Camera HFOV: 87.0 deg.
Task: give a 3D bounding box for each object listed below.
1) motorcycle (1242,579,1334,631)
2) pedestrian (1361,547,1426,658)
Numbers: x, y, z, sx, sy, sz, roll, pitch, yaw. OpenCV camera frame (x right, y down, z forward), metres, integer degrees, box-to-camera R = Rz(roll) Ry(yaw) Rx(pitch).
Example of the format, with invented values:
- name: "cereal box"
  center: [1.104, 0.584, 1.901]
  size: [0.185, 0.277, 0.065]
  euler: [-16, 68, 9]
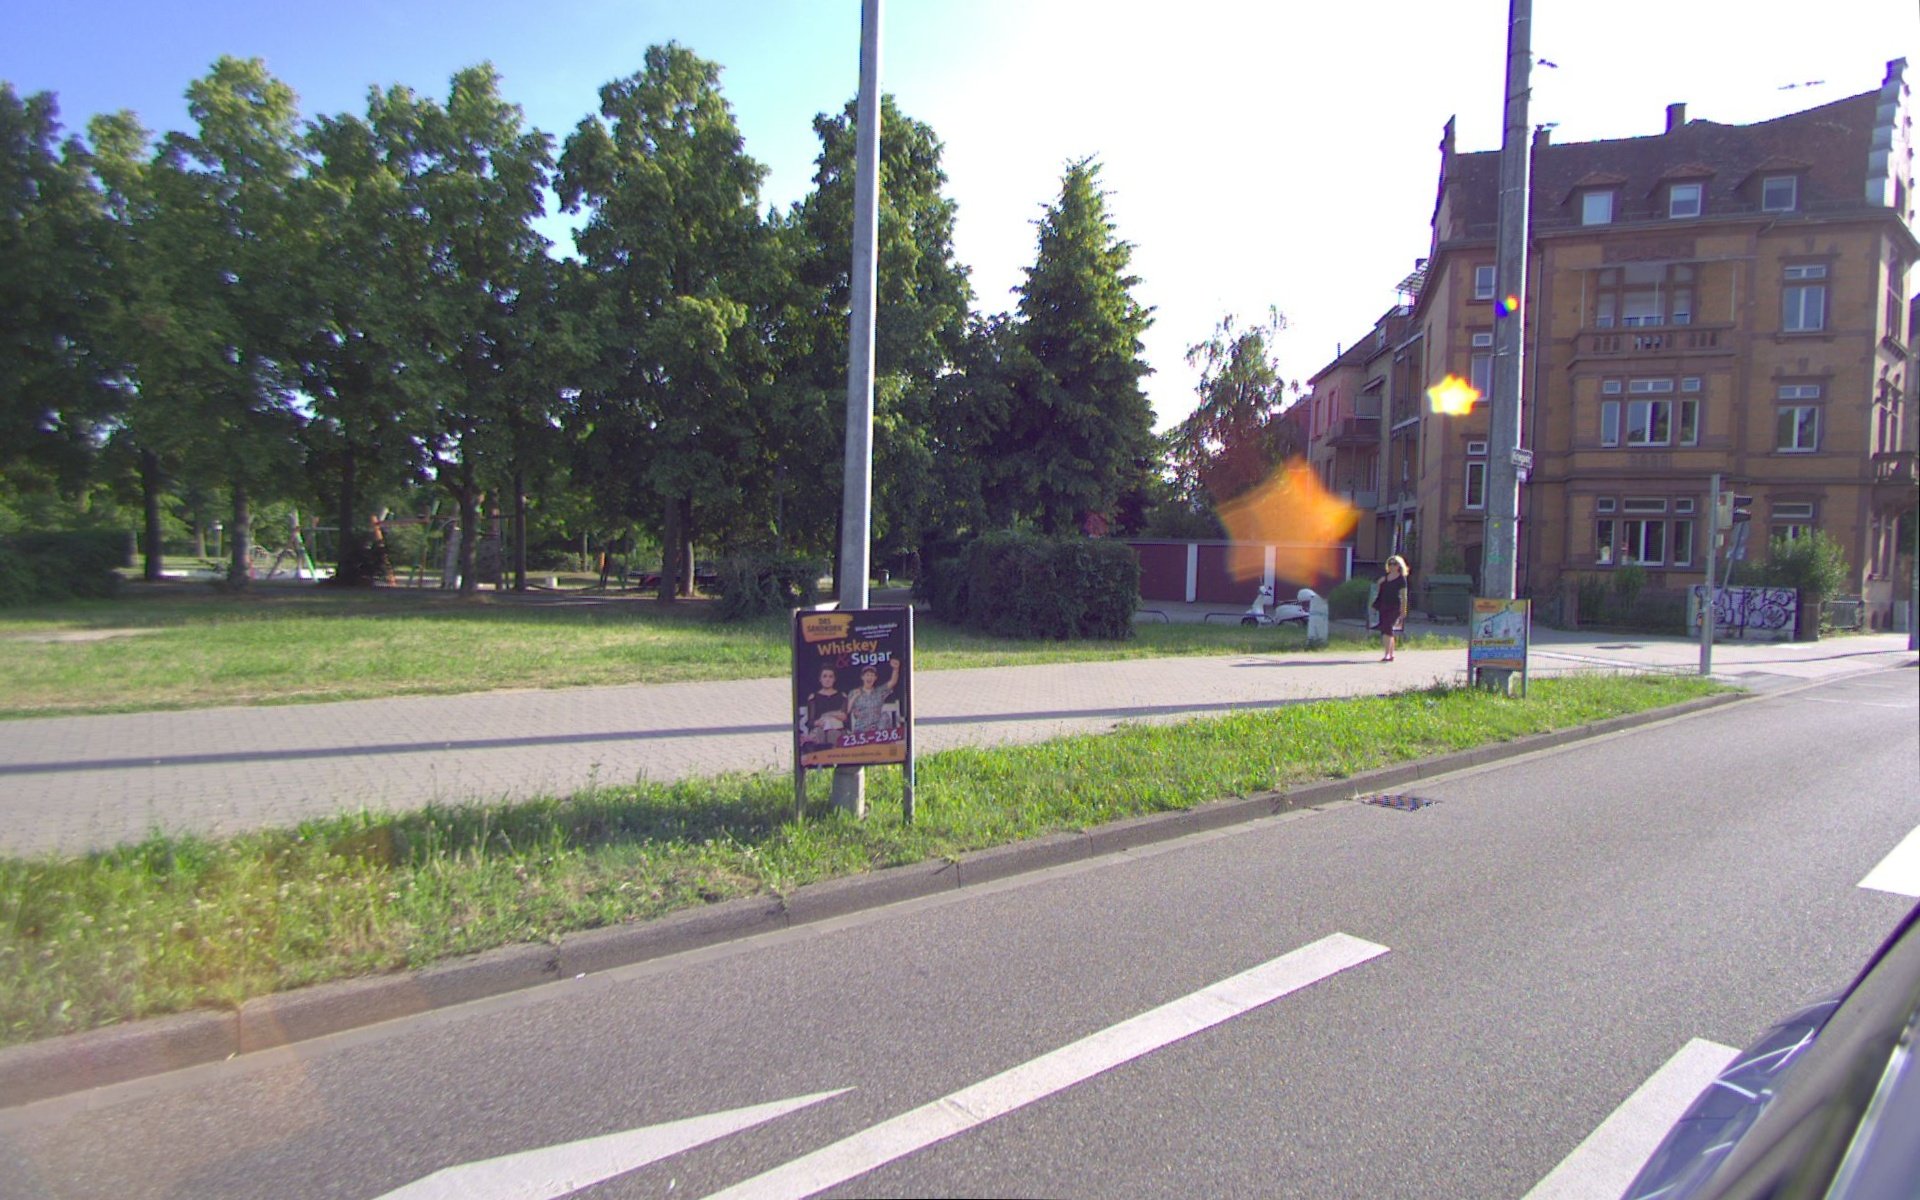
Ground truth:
- name: "motorcycle"
  center: [7.910, 0.094, 24.472]
  size: [0.696, 1.174, 1.998]
  euler: [1, 1, -44]
- name: "pedestrian"
  center: [7.045, 0.036, 16.453]
  size: [0.538, 1.711, 0.618]
  euler: [1, 6, -35]
